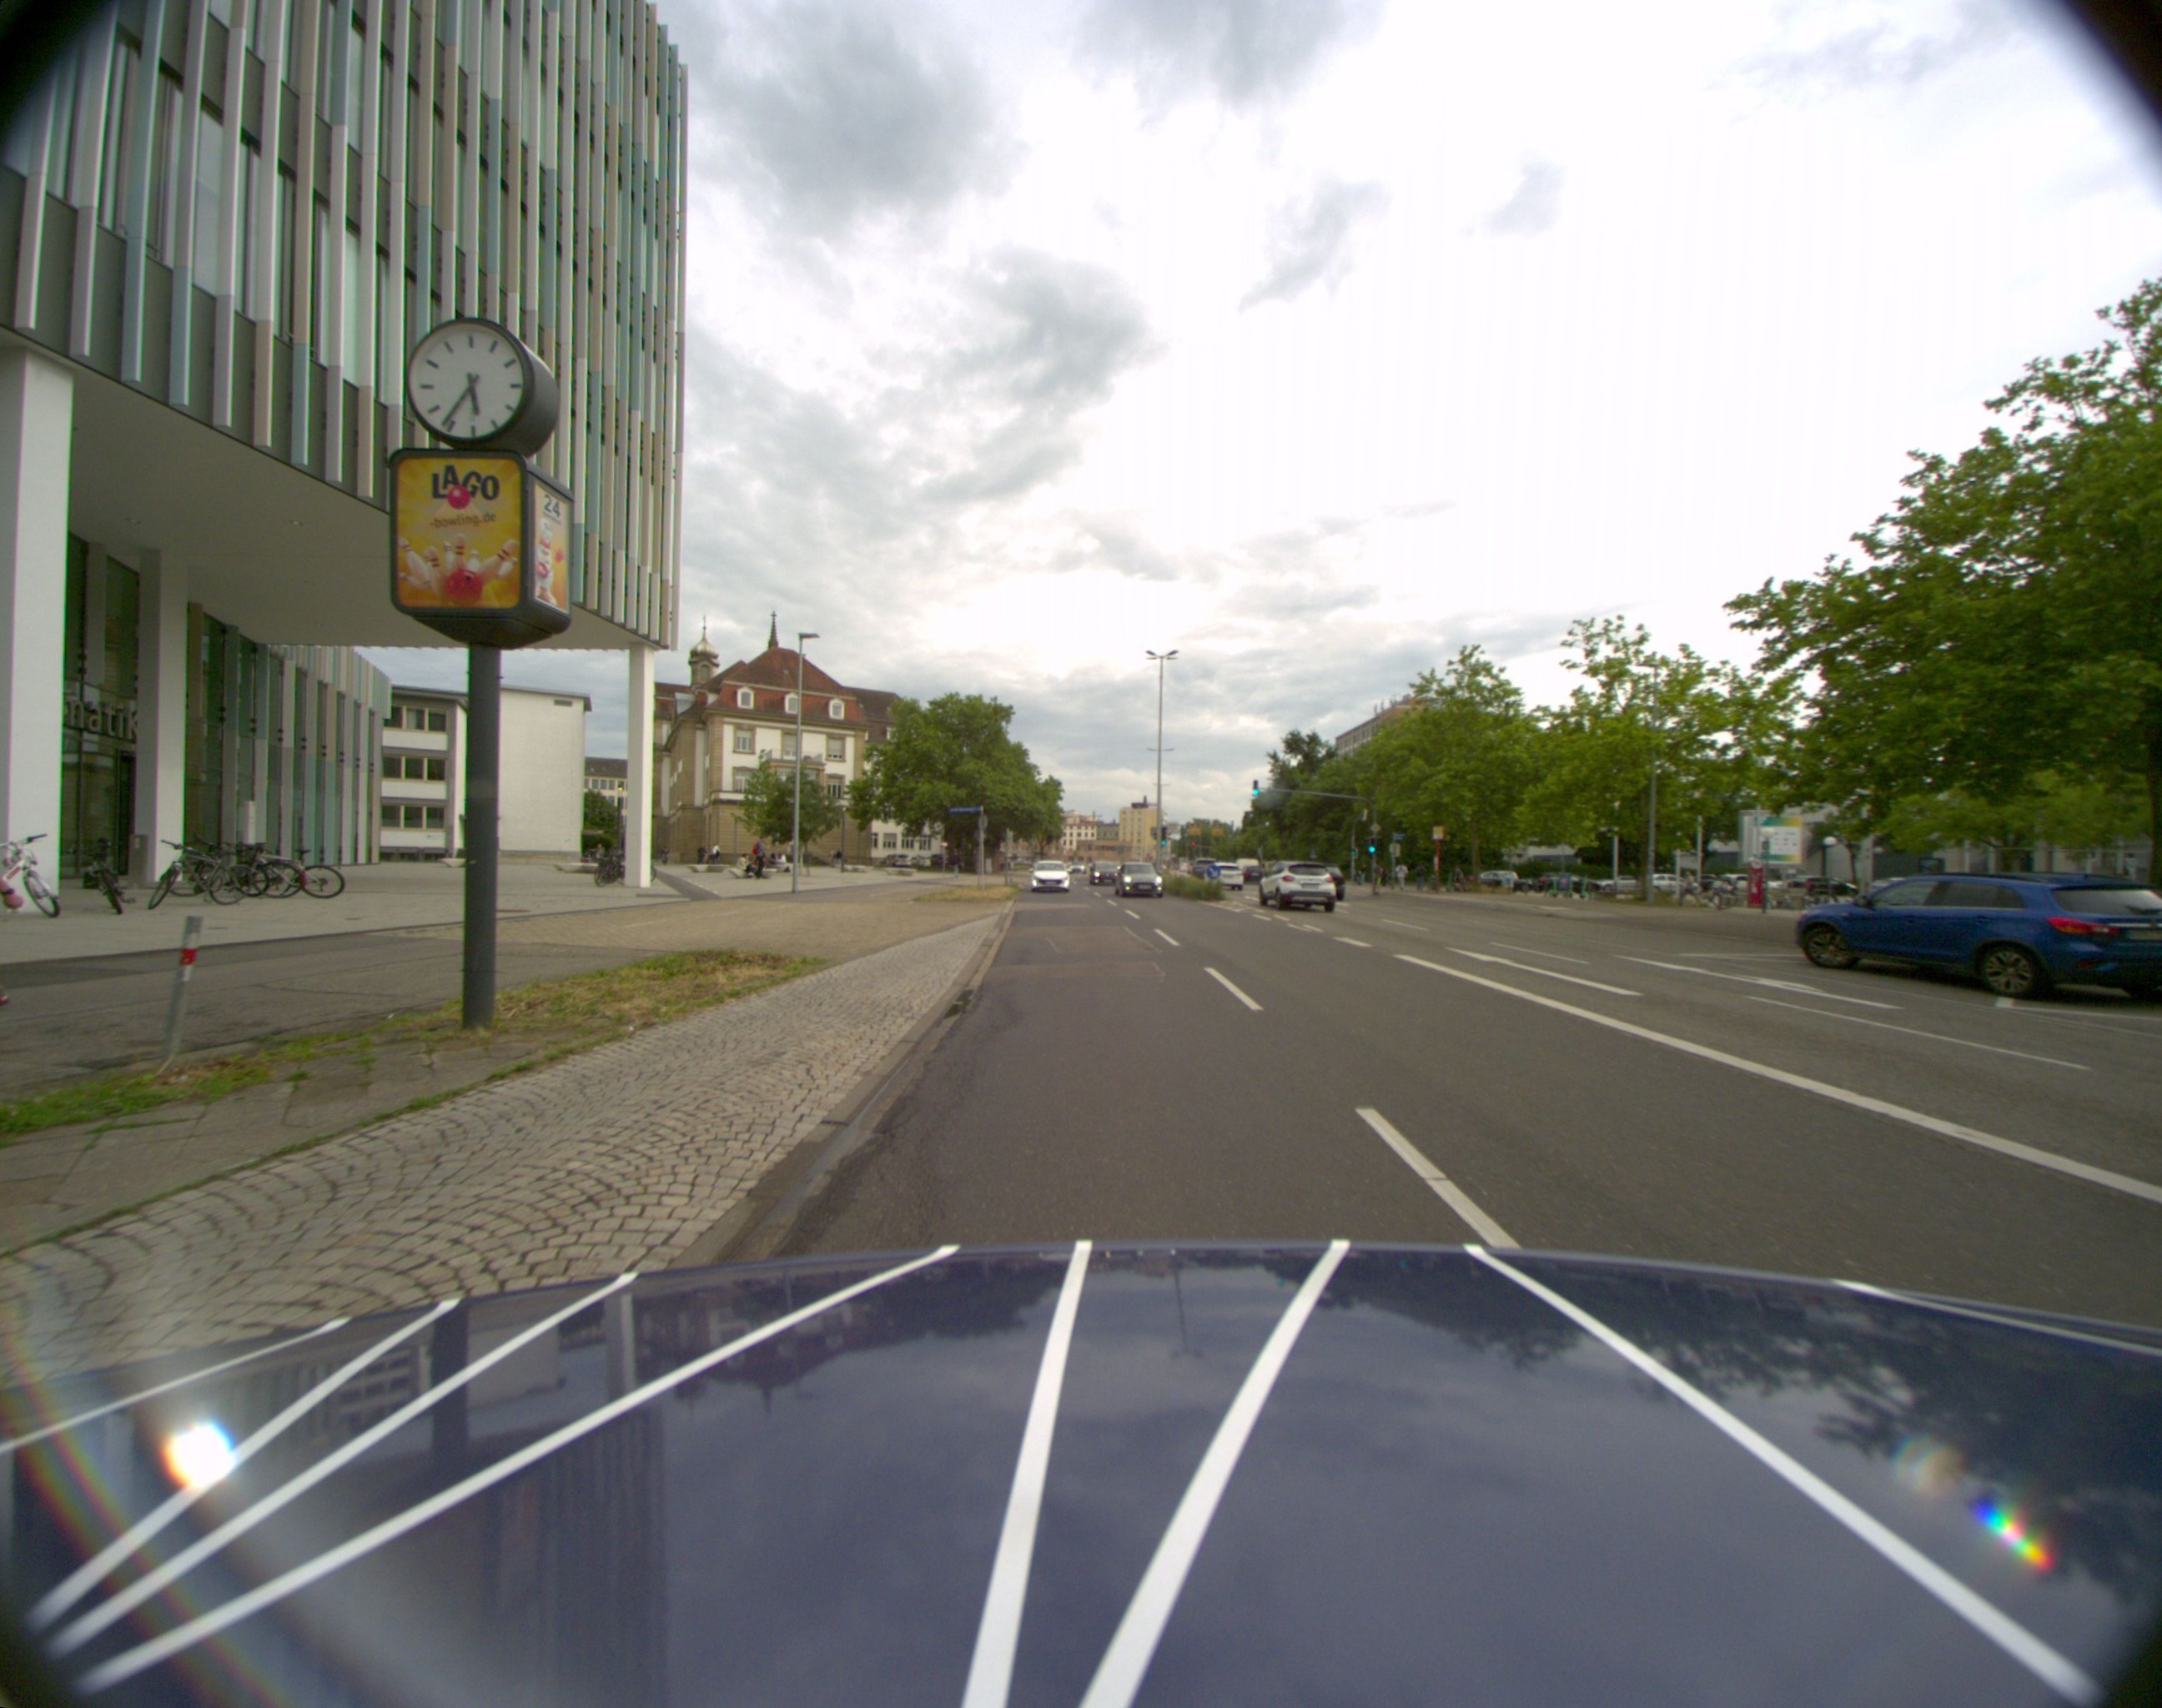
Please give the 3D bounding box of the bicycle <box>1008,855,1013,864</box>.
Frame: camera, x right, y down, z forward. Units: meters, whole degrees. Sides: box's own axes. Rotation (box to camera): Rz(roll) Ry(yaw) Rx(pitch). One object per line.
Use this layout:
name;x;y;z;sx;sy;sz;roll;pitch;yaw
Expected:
bicycle;-9.017;0.694;96.814;0.478;1.070;2.082;2;0;-1

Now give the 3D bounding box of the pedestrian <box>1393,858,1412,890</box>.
pedestrian;21.021;1.331;49.697;0.669;2.046;0.852;3;-2;-14

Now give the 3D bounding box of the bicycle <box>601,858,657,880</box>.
bicycle;-18.548;0.616;31.177;0.670;0.893;1.850;2;0;43

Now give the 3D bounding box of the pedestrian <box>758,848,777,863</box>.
pedestrian;-18.097;0.076;43.845;0.635;0.818;0.734;2;1;18

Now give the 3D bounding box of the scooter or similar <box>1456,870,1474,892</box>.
scooter or similar;20.963;1.444;41.481;0.361;1.133;1.320;2;0;2

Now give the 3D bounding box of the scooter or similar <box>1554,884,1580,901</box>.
scooter or similar;21.692;1.725;33.921;0.407;0.689;1.289;-1;0;5

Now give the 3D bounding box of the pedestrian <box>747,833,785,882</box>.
pedestrian;-13.579;0.152;32.761;1.184;2.050;1.135;-1;0;-3

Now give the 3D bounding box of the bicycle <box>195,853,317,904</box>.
bicycle;-15.591;0.471;14.409;1.492;0.924;0.439;2;0;-37

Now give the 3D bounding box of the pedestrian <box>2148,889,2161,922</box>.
pedestrian;47.096;2.255;32.774;0.896;1.410;0.796;2;1;9

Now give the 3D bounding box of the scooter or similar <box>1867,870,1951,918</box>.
scooter or similar;22.347;1.070;20.529;1.578;1.236;0.566;1;0;2

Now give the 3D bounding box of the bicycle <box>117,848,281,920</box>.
bicycle;-14.445;0.454;12.540;0.610;1.073;1.961;3;0;-9

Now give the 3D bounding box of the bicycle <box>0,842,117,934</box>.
bicycle;-14.050;0.432;9.718;0.637;1.134;2.200;4;0;-2

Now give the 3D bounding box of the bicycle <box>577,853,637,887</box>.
bicycle;-15.480;0.502;24.850;0.640;1.055;1.841;-1;0;7

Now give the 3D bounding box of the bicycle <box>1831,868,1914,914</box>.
bicycle;28.081;1.291;26.961;2.199;1.550;0.899;1;0;-8

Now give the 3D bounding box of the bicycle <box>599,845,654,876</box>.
bicycle;-20.399;0.295;34.141;2.010;1.298;0.644;3;-1;-19

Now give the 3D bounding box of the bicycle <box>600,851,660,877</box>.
bicycle;-18.065;0.402;30.443;1.964;0.996;0.772;2;0;-40

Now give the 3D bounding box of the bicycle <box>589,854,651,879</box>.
bicycle;-19.544;0.521;32.270;2.195;1.000;0.780;2;0;-28

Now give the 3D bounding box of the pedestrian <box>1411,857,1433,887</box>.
pedestrian;21.113;1.132;47.052;0.897;1.793;0.935;2;1;-1

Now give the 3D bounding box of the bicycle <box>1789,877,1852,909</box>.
bicycle;27.412;1.441;28.175;2.037;1.146;0.720;1;0;-16

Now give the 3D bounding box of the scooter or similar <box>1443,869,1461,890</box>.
scooter or similar;21.051;1.449;43.101;0.361;1.133;1.320;2;0;2

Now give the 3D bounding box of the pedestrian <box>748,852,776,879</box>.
pedestrian;-14.807;0.521;35.290;0.843;1.199;0.896;2;0;36

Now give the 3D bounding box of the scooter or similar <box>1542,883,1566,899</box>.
scooter or similar;22.082;1.727;35.481;0.407;0.689;1.289;-1;0;5

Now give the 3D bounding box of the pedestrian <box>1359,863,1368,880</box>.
pedestrian;25.838;1.602;69.384;0.503;1.597;0.601;2;0;-9

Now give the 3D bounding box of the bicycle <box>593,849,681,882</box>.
bicycle;-16.579;0.439;28.443;2.726;1.181;0.772;2;0;-40

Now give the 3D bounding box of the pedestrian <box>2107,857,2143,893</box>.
pedestrian;59.897;1.186;43.587;0.796;2.002;0.946;1;1;-15

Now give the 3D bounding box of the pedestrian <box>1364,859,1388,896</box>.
pedestrian;16.668;1.324;42.955;0.896;2.002;1.009;1;0;0

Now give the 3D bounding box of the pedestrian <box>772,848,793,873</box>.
pedestrian;-17.123;0.370;43.650;0.912;1.359;0.878;-1;0;-8

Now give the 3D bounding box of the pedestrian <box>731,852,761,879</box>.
pedestrian;-15.279;0.531;34.710;0.892;1.186;0.846;1;0;16

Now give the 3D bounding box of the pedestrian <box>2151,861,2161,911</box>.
pedestrian;44.200;1.307;30.625;0.896;2.002;0.796;2;1;9

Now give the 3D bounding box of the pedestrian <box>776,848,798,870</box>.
pedestrian;-17.400;0.303;45.043;0.911;1.250;0.879;-1;0;5

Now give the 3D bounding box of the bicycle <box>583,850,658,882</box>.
bicycle;-16.363;0.439;27.032;2.188;1.109;0.734;2;0;-41
